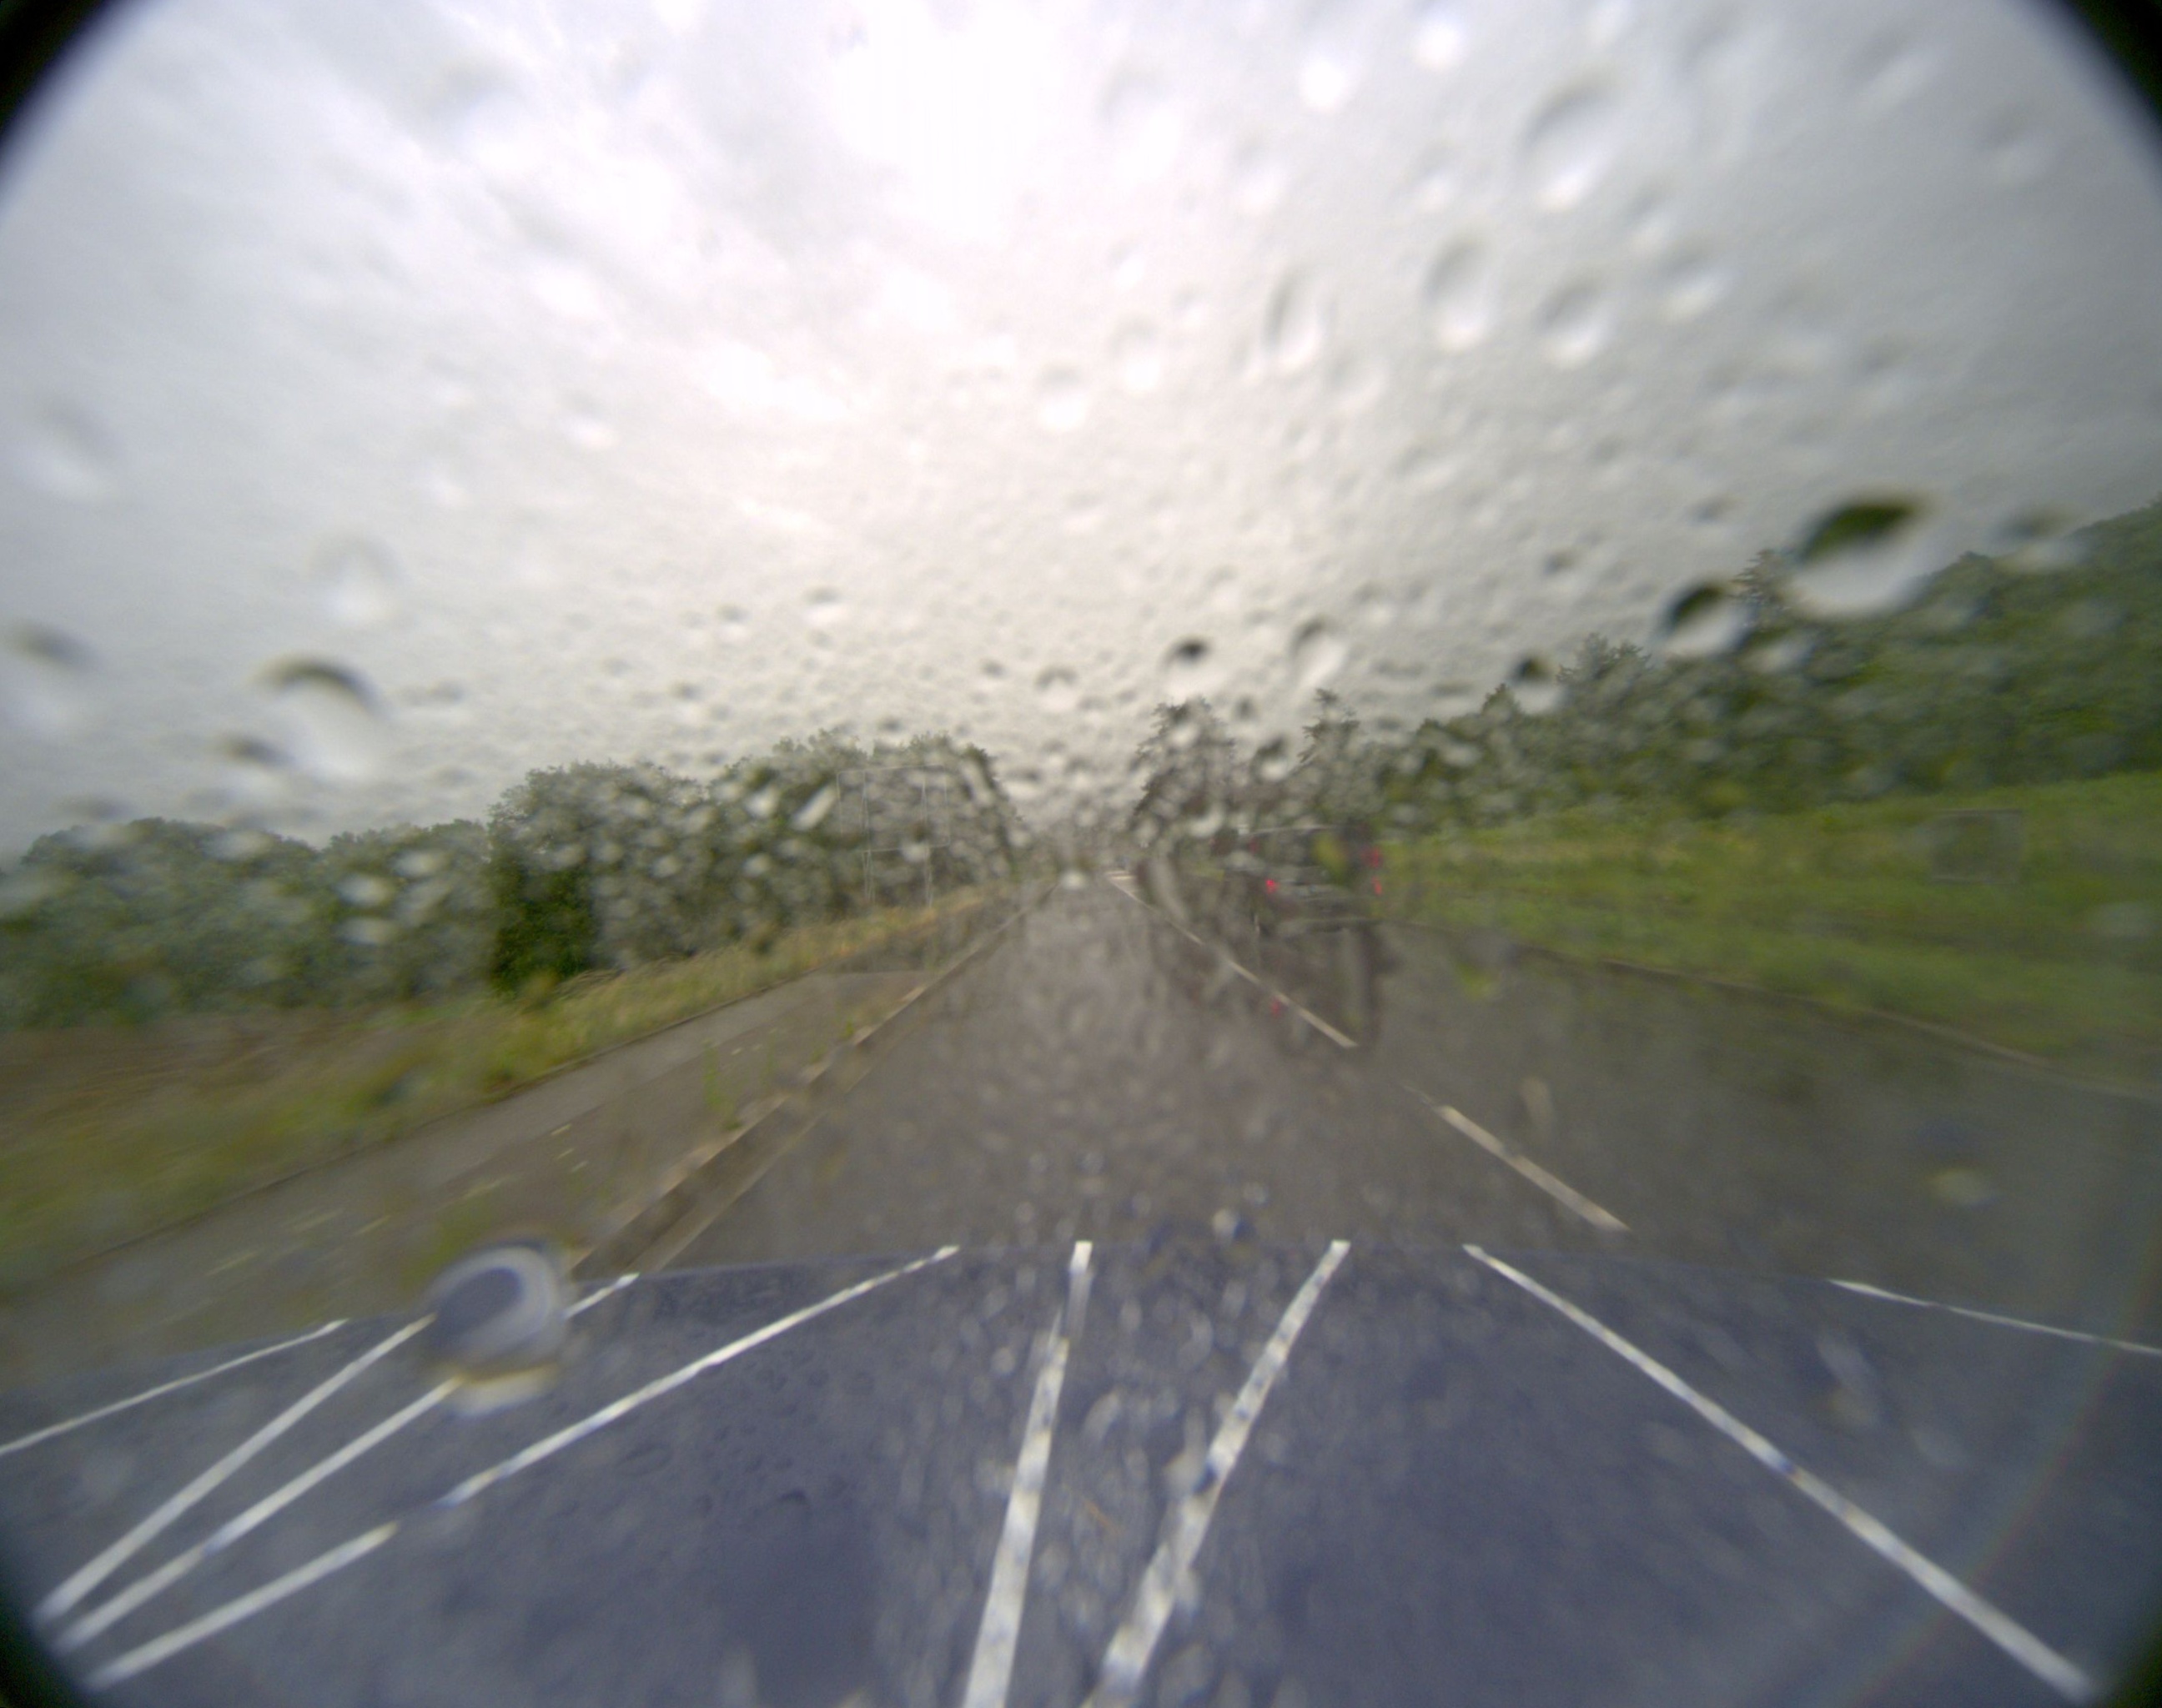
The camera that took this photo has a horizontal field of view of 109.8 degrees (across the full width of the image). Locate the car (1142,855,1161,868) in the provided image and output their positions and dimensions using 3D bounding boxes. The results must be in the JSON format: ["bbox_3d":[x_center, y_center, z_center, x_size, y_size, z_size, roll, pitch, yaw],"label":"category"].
[{"bbox_3d":[7.038,0.725,76.059,1.540,1.237,4.000,-3,0,1],"label":"car"}]
